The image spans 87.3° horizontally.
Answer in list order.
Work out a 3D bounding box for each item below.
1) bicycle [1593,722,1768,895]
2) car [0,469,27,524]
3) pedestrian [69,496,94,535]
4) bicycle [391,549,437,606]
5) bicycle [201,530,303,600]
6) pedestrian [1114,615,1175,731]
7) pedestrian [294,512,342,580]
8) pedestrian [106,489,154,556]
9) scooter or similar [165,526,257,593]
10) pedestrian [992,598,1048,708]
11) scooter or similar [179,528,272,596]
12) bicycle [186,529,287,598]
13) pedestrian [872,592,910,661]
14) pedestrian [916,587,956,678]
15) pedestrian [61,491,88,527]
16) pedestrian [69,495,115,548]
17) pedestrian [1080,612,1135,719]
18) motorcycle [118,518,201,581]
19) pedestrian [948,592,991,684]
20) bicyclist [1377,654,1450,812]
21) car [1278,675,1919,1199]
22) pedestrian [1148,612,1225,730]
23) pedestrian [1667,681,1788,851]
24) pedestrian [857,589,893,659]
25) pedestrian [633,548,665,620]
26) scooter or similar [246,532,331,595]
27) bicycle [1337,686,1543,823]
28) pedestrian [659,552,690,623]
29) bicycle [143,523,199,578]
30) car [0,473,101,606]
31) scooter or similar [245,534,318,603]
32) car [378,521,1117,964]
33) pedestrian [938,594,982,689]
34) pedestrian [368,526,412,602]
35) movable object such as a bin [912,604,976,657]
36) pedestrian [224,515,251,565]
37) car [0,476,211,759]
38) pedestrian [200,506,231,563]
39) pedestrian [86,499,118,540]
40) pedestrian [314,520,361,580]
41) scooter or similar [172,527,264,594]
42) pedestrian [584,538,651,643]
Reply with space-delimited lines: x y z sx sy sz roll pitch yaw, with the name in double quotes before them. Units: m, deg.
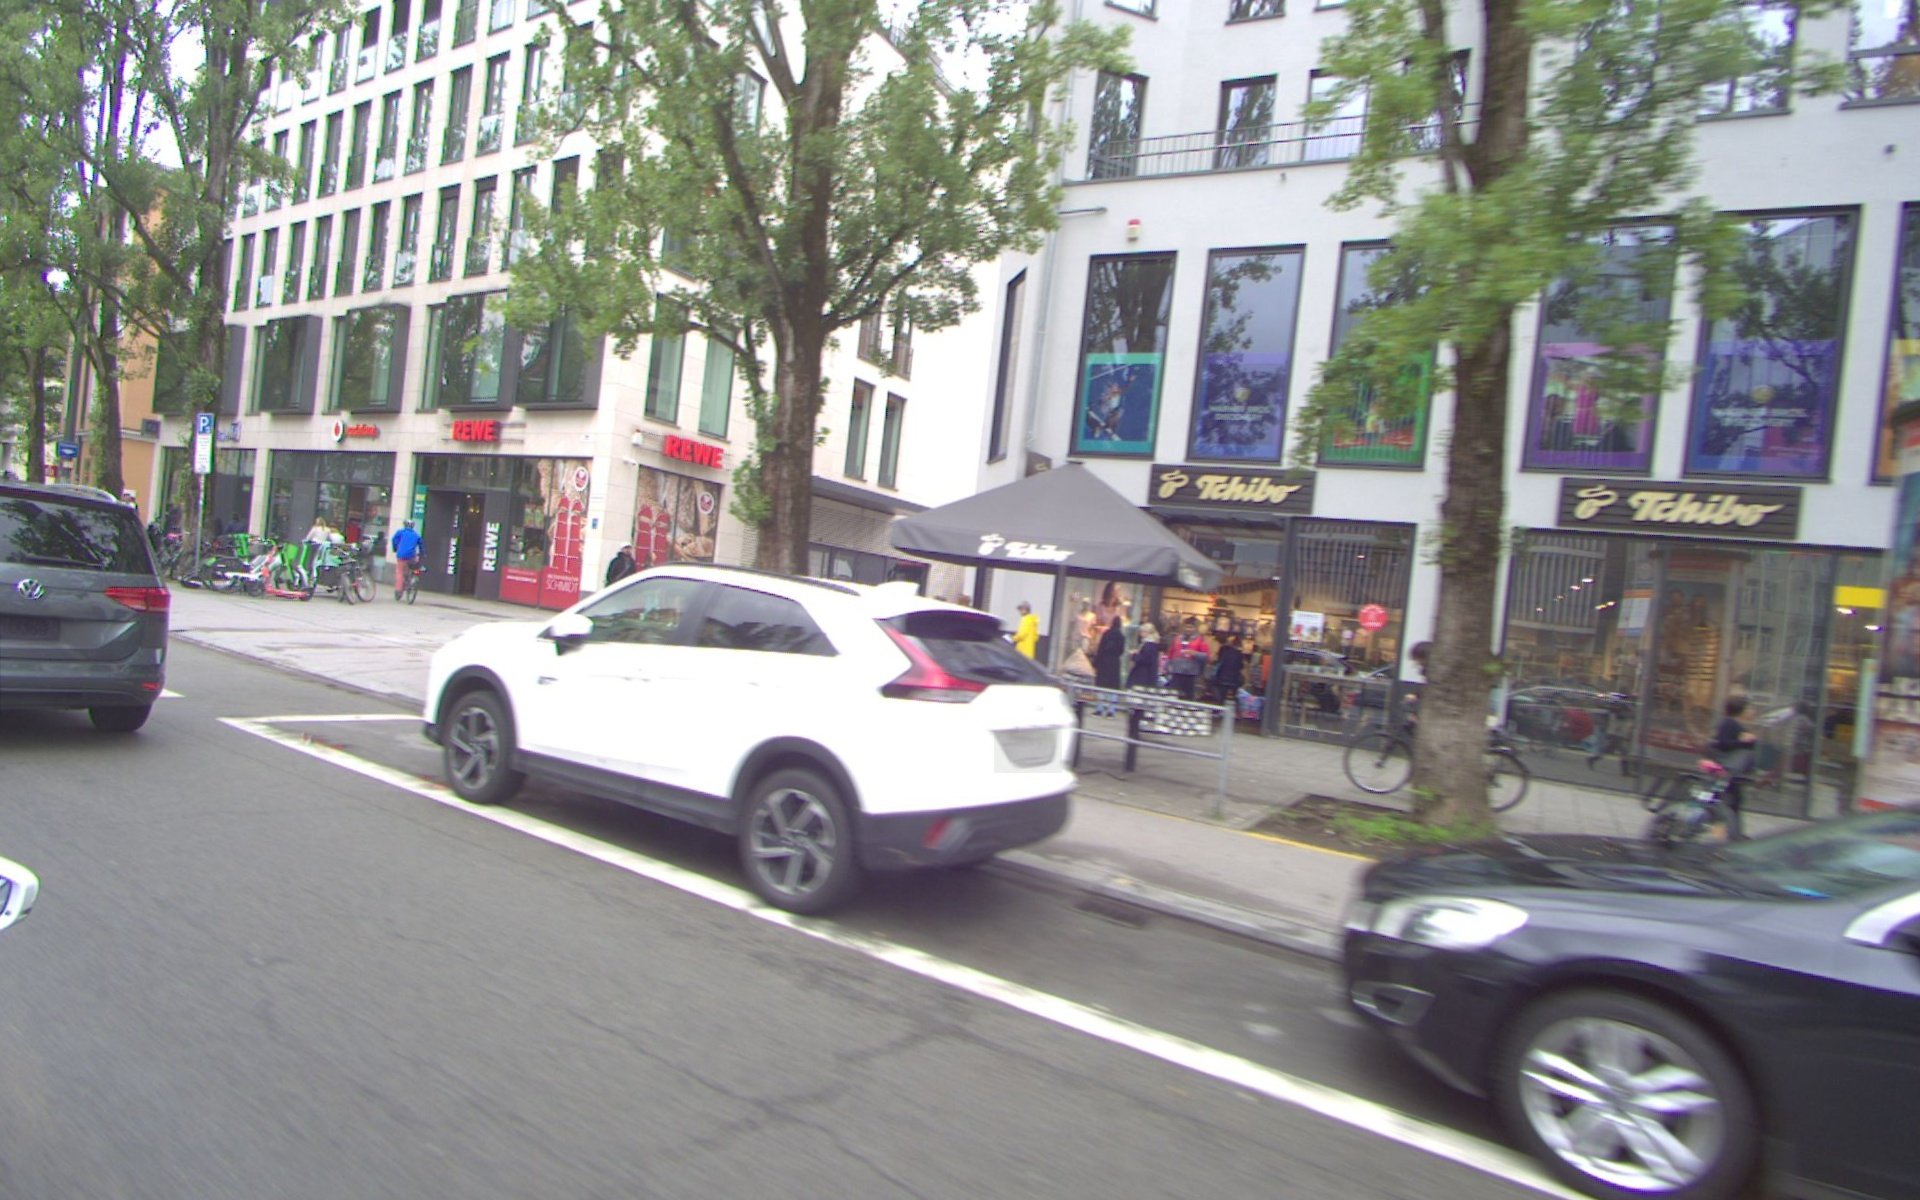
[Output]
"bicycle" 6.099 1.687 8.490 0.882 1.154 1.504 7 1 44
"car" -43.623 -4.730 45.271 1.891 2.358 4.773 5 1 -38
"pedestrian" -39.522 -3.819 45.259 0.726 1.647 0.796 5 2 -41
"bicycle" -12.672 -0.533 23.332 0.448 1.187 1.747 5 2 -42
"bicycle" -13.950 -0.665 19.860 0.527 1.223 1.480 7 1 31
"pedestrian" 2.655 1.041 14.484 0.560 1.587 0.490 7 2 33
"pedestrian" -18.154 -1.513 28.457 0.669 1.795 0.796 6 1 15
"pedestrian" -25.238 -2.355 30.596 0.924 1.893 0.817 7 2 36
"scooter or similar" -15.377 -0.814 20.692 0.306 1.216 1.436 7 1 30
"pedestrian" 0.953 0.833 15.935 0.560 1.655 0.490 7 2 34
"scooter or similar" -14.832 -0.752 20.345 0.306 1.216 1.436 7 1 30
"bicycle" -14.444 -0.719 20.128 0.527 1.223 1.480 7 1 31
"pedestrian" -1.670 0.646 24.346 0.544 1.599 0.504 6 -1 44
"pedestrian" -0.452 0.603 18.849 0.499 1.644 0.548 6 -1 -10
"pedestrian" -44.054 -4.519 50.055 0.768 1.634 0.819 7 2 42
"pedestrian" -28.568 -2.586 33.109 0.923 1.597 0.834 7 1 32
"pedestrian" 2.335 1.022 15.967 0.664 1.596 0.565 6 1 4
"motorcycle" -20.044 -1.259 25.207 1.612 1.373 0.688 6 1 12
"pedestrian" 0.178 0.714 18.787 0.538 1.644 0.508 6 -1 11
"bicyclist" 4.494 1.291 9.949 0.433 1.466 0.639 7 1 31
"car" 3.561 1.292 3.175 4.493 1.450 1.775 7 -1 30
"pedestrian" 3.567 1.116 15.861 0.665 1.747 0.760 5 2 -42
"pedestrian" 7.883 1.673 10.373 0.737 1.578 0.683 7 1 29
"pedestrian" -2.102 0.589 24.848 0.494 1.644 0.504 6 -1 44
"pedestrian" -7.924 -0.395 25.636 0.460 1.773 0.427 6 1 7
"scooter or similar" -14.928 -0.799 22.388 0.545 1.226 1.383 7 1 37
"bicycle" 4.943 1.550 10.408 1.774 1.077 0.590 7 1 33
"pedestrian" -7.417 -0.318 26.136 0.420 1.773 0.467 7 2 36
"bicycle" -18.498 -1.159 23.616 0.540 1.205 1.447 5 1 -21
"car" -14.849 -1.032 15.030 4.578 1.720 1.926 6 -2 36
"scooter or similar" -13.390 -0.614 19.872 0.373 1.241 1.051 7 1 31
"car" -1.459 0.605 6.256 4.334 1.707 1.730 6 -1 31
"pedestrian" 0.003 0.747 18.138 0.498 1.644 0.549 6 -1 17
"pedestrian" -12.995 -0.818 22.926 0.608 1.640 0.784 4 2 -42
"movable object such as a bin" -0.465 0.897 29.297 1.369 1.335 1.110 8 2 29
"pedestrian" -22.691 -1.879 31.600 0.498 1.510 0.544 6 1 -26
"car" -7.222 -0.077 6.949 4.114 1.633 1.764 6 -1 31
"pedestrian" -22.933 -2.006 30.982 0.545 1.658 0.555 6 1 -26
"pedestrian" -34.650 -3.245 40.650 0.701 1.571 0.606 6 2 12
"pedestrian" -18.261 -1.454 29.512 0.704 1.642 0.796 6 1 15
"scooter or similar" -15.101 -0.787 20.513 0.306 1.216 1.436 7 1 30
"pedestrian" -6.720 -0.181 19.739 0.911 1.949 0.646 7 2 31
